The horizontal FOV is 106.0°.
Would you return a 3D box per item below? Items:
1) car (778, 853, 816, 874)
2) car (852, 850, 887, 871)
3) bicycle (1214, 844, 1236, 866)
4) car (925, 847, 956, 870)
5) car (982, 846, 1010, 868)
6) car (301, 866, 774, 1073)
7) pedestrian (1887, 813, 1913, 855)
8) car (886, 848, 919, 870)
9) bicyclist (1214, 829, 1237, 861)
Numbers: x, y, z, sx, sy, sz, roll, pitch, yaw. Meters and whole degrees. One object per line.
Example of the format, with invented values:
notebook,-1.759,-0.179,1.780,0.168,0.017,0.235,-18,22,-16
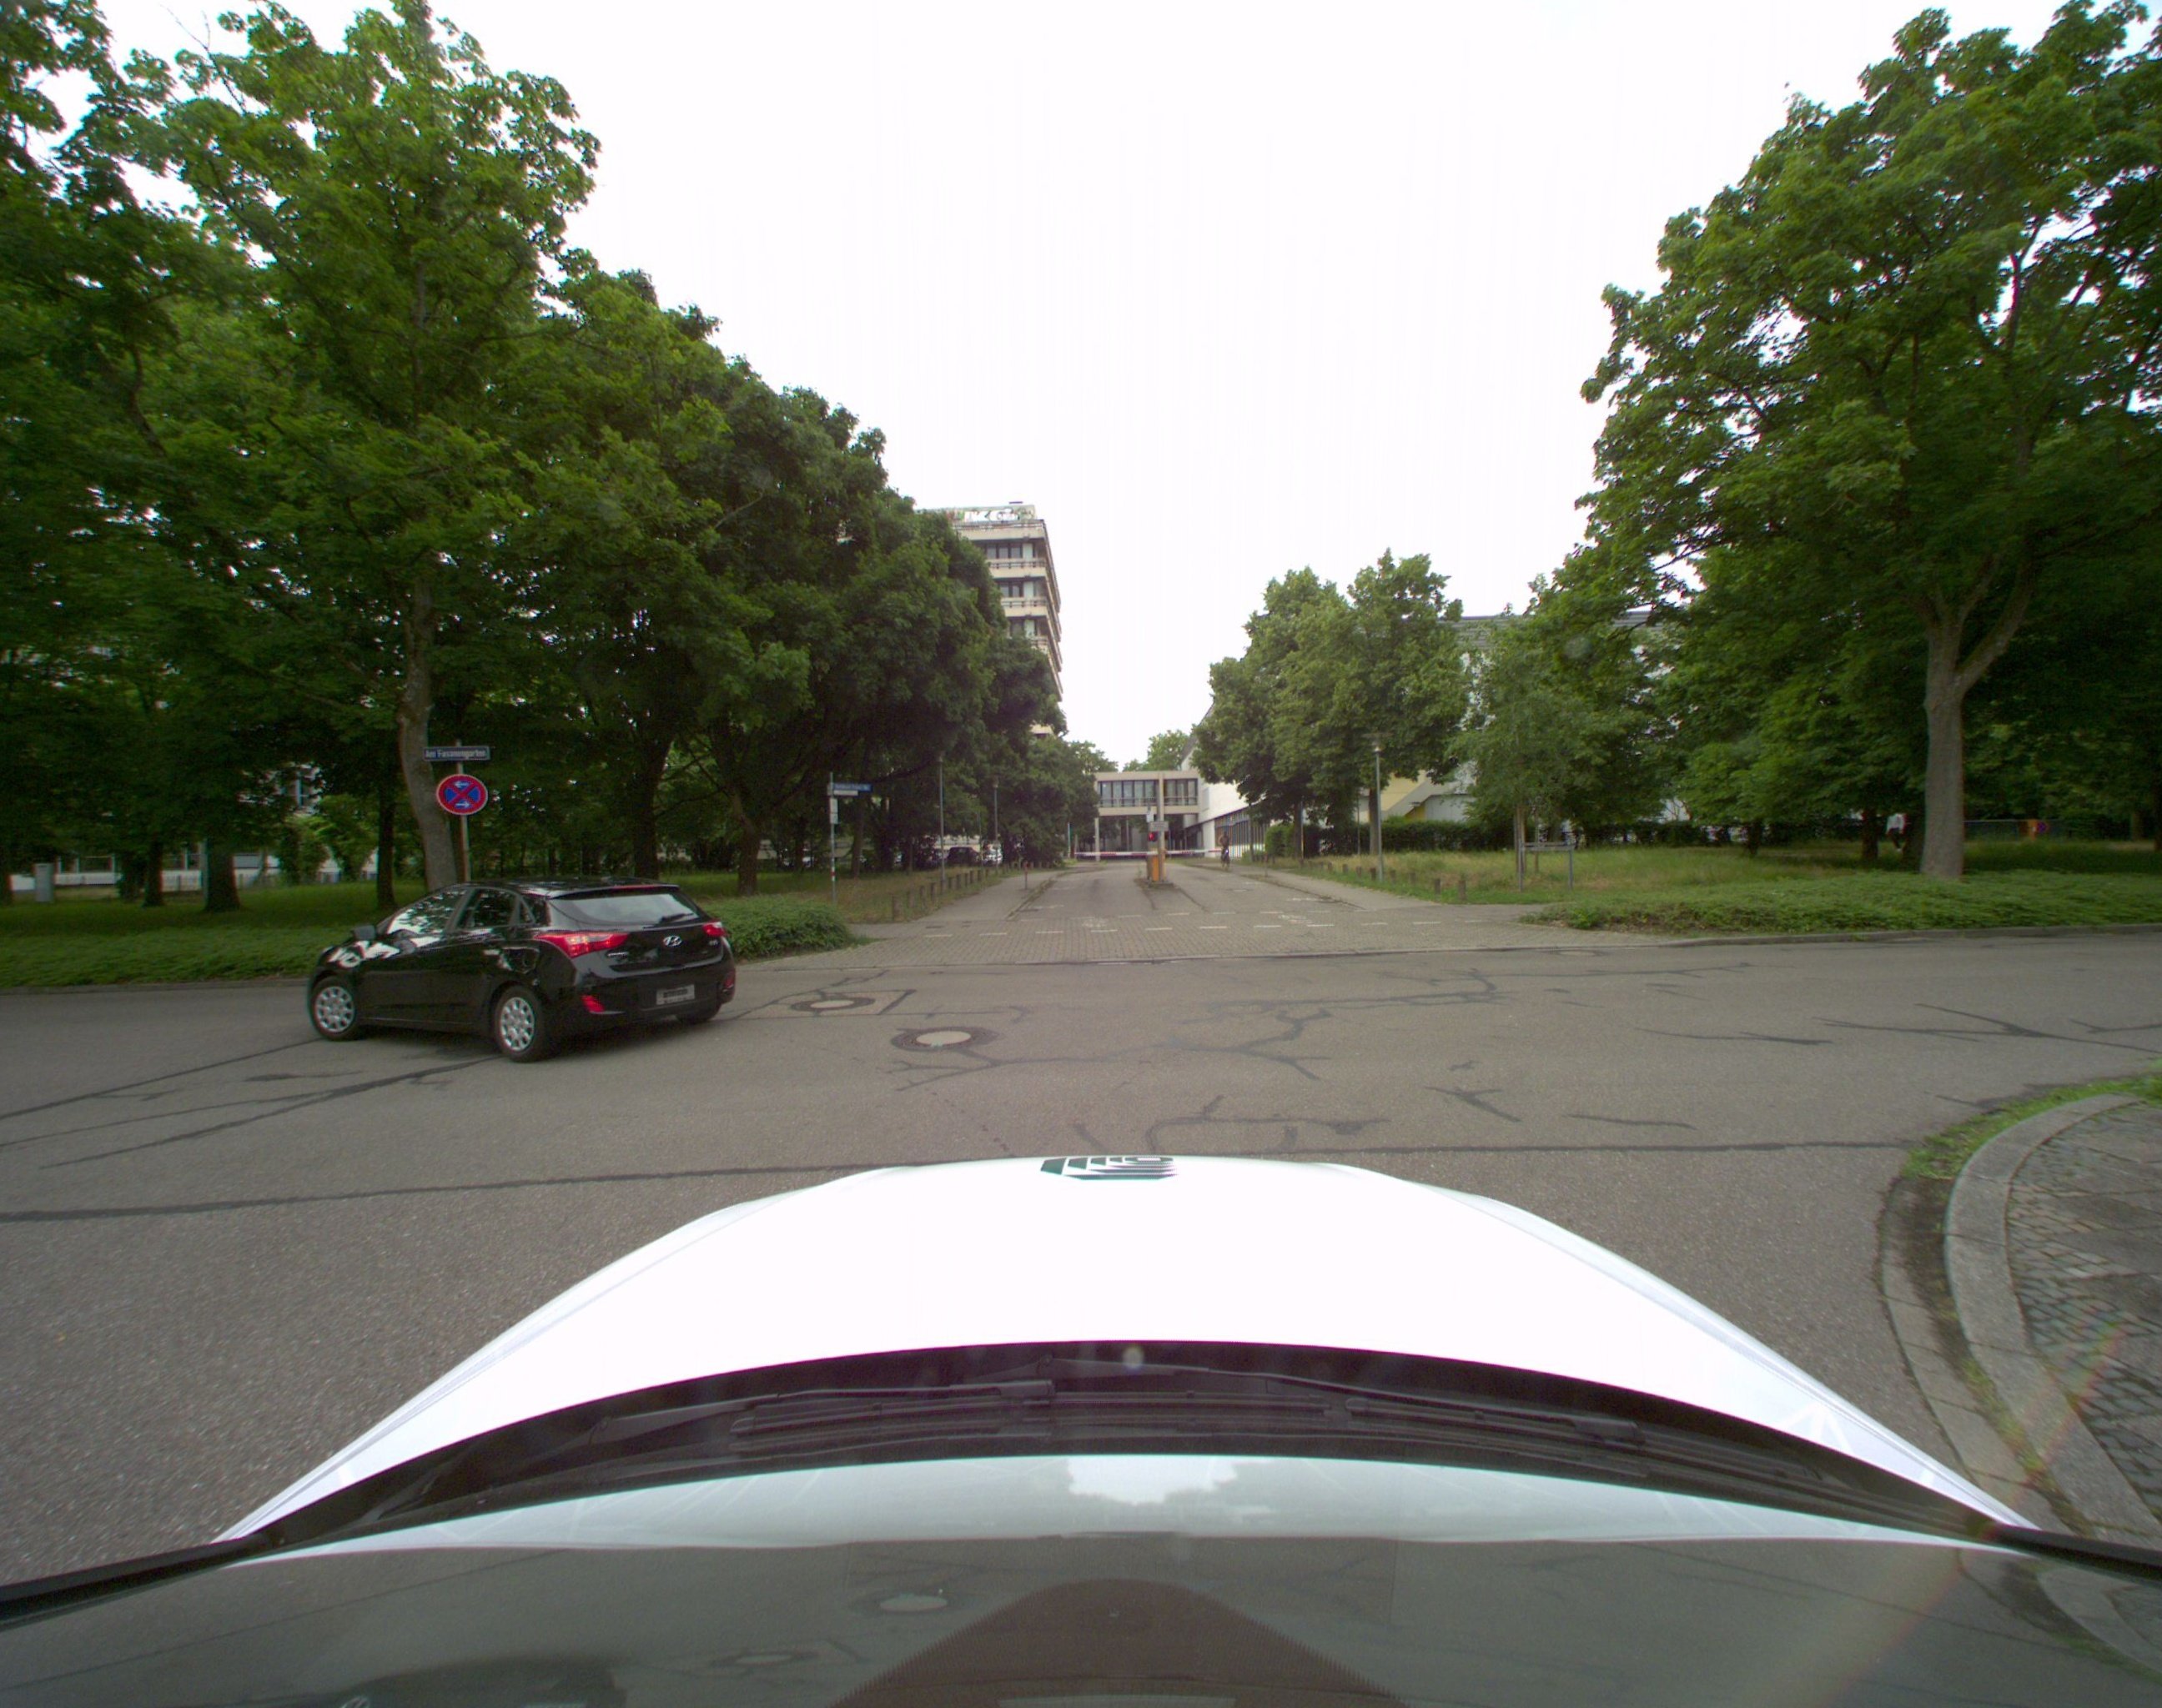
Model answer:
car,-23.567,0.748,67.649,1.913,1.618,3.995,-2,0,-3
car,-17.403,0.509,67.259,1.989,1.618,3.995,-2,0,-3
bicycle,7.544,0.027,42.748,0.863,1.074,2.143,-2,1,2
car,-11.592,0.378,67.494,1.989,1.794,3.995,-2,-1,-3
car,-7.012,0.276,67.537,1.989,1.762,3.995,-2,-1,-3
car,-4.993,0.895,7.524,3.781,1.462,1.862,-1,0,24
pedestrian,35.265,-0.862,35.057,0.568,1.798,0.545,-1,1,10
car,-14.693,0.446,67.178,1.989,1.728,3.995,-2,-2,-3
bicyclist,7.553,-0.466,42.576,1.013,1.644,0.923,-2,0,1
